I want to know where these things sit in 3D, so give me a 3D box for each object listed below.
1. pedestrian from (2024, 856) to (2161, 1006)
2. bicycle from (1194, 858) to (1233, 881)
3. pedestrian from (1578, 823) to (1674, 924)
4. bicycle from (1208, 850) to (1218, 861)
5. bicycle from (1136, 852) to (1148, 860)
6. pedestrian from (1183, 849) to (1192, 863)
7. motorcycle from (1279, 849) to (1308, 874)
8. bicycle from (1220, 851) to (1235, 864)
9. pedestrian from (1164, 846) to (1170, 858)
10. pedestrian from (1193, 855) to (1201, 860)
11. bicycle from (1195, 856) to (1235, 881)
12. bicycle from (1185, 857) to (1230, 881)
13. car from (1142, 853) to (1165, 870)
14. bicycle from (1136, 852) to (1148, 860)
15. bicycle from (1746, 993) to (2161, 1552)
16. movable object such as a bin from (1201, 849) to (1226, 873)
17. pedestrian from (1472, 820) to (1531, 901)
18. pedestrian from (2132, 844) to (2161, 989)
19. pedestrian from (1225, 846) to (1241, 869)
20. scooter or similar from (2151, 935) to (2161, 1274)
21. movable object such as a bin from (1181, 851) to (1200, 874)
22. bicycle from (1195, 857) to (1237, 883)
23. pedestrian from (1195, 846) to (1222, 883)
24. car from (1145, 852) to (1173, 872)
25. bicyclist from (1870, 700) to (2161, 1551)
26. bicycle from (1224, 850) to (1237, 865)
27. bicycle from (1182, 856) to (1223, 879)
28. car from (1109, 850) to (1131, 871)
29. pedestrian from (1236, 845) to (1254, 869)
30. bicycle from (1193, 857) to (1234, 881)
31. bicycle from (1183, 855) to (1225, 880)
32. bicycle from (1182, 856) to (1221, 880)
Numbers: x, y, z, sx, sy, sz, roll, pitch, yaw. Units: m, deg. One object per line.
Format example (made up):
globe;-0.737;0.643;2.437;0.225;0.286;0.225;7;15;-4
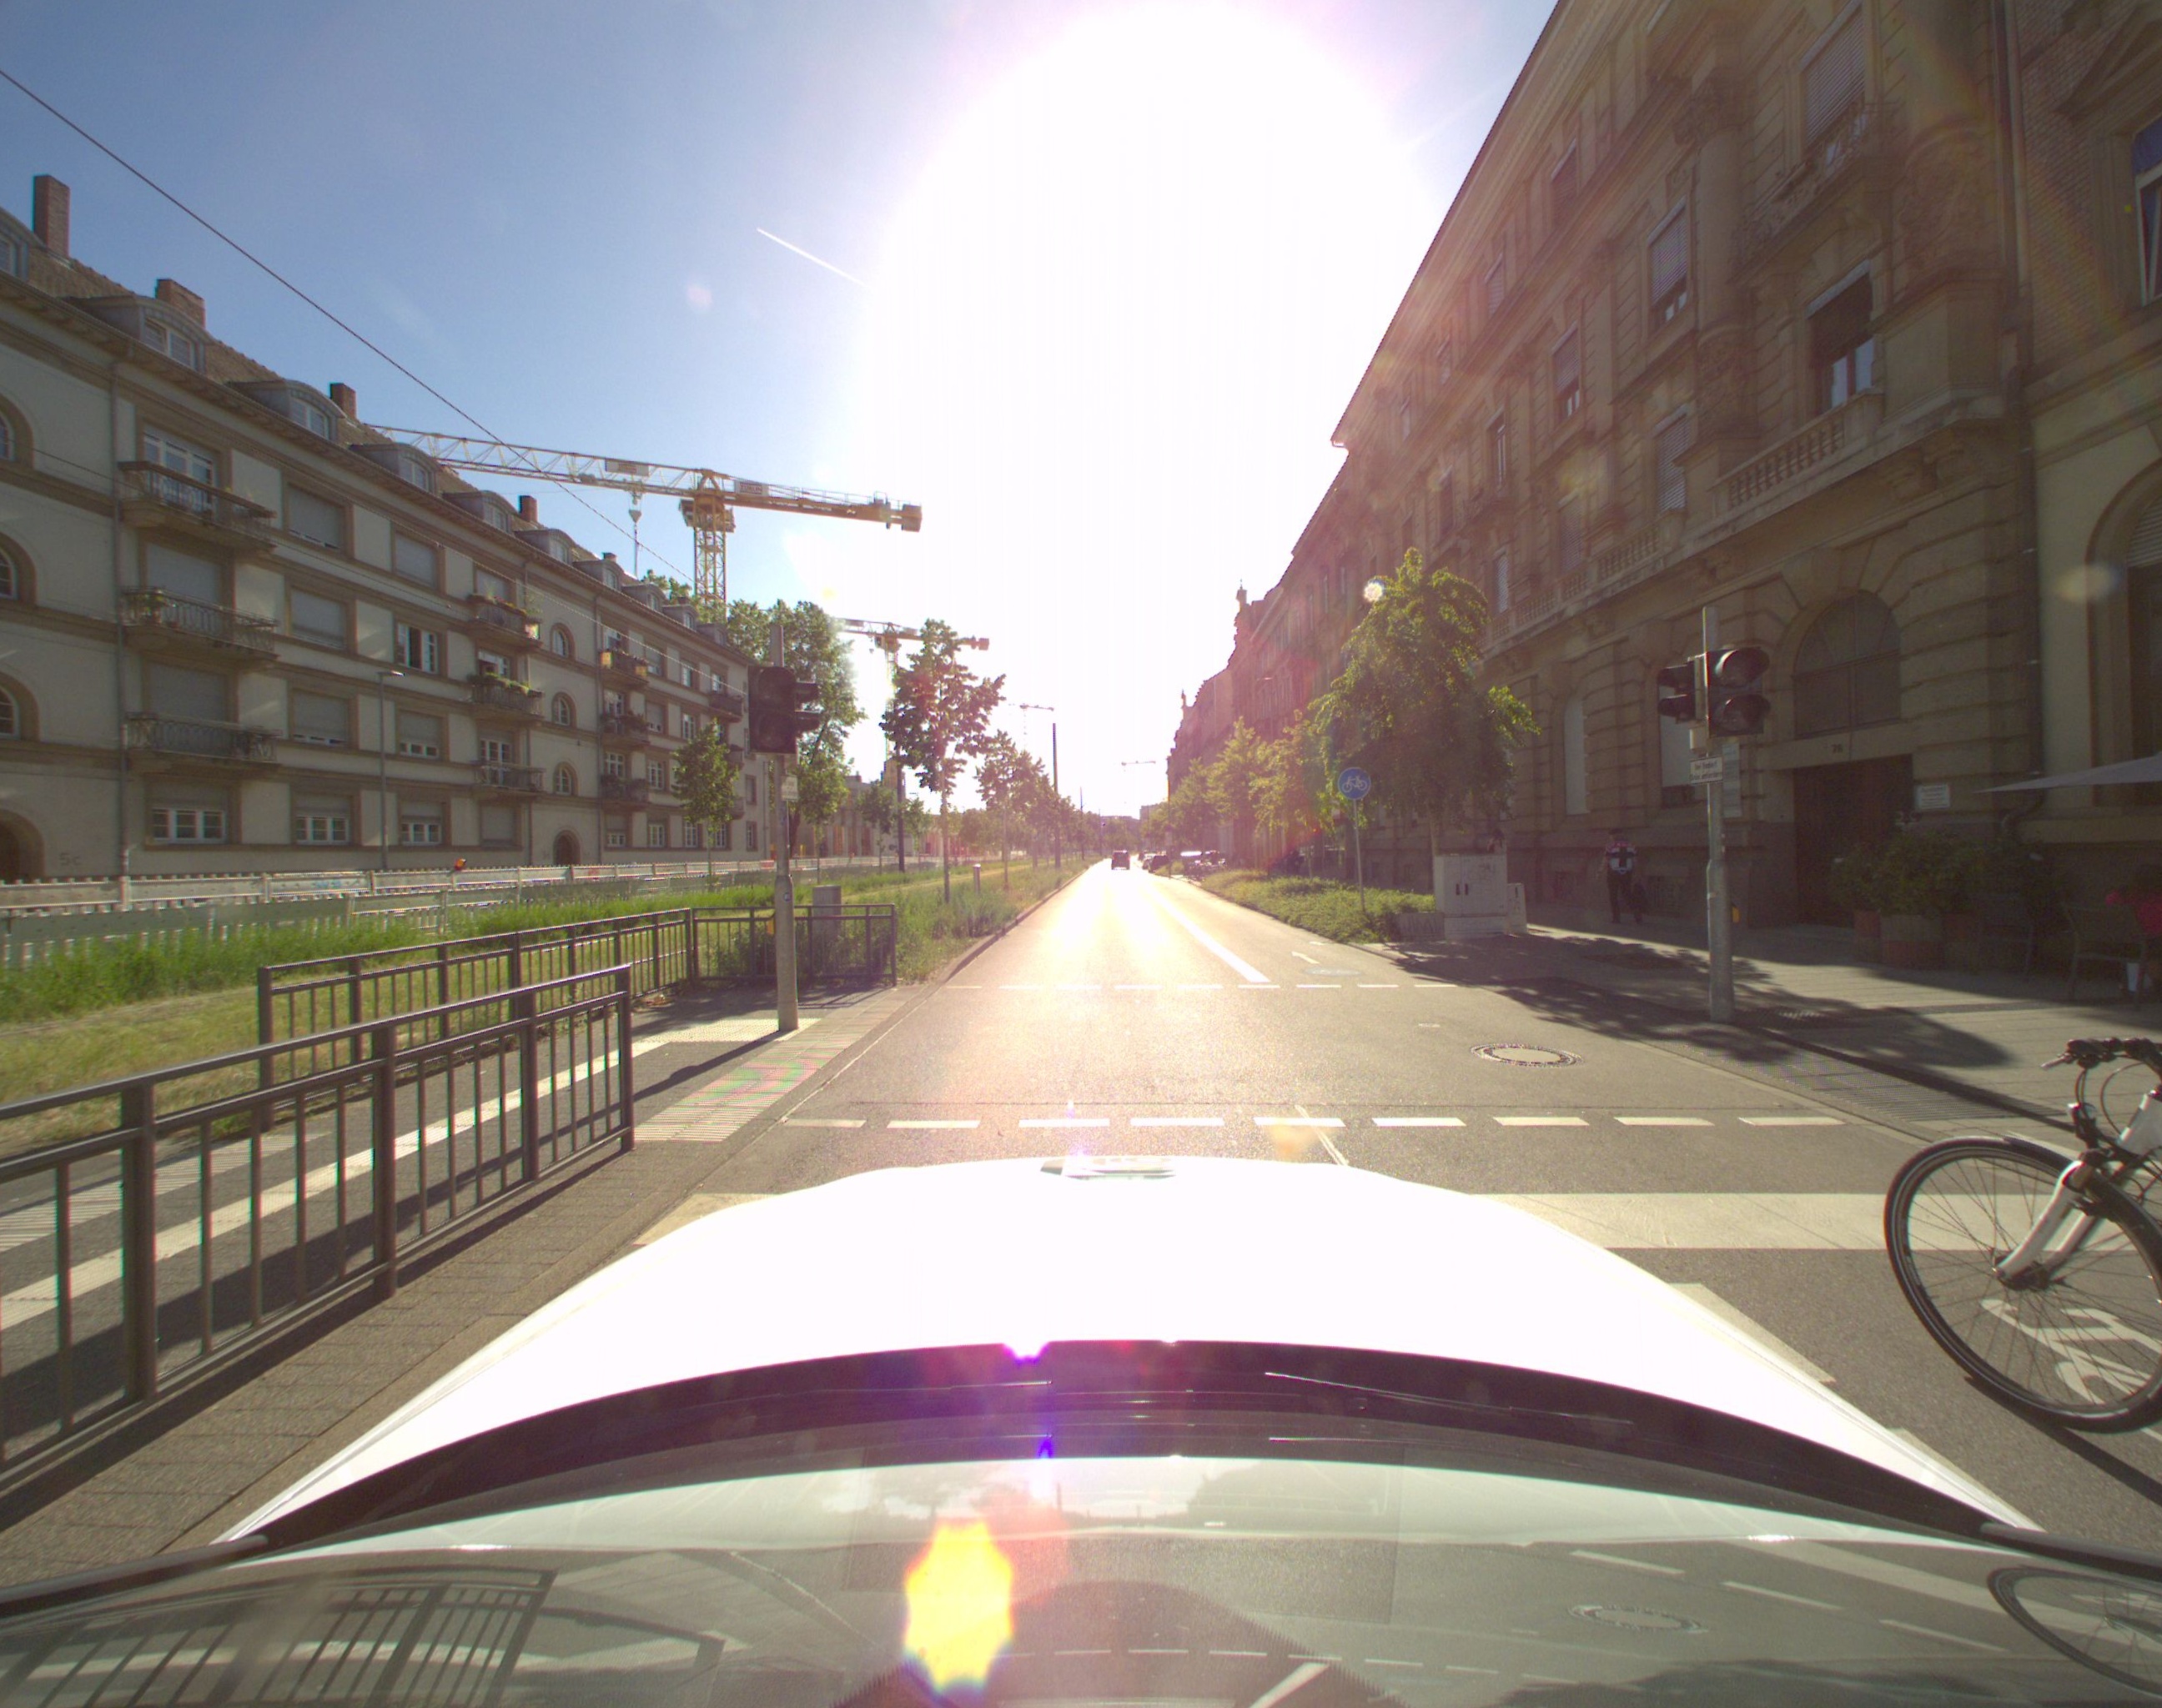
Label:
pedestrian;8.940;0.618;6.956;0.715;1.183;0.881;-2;-1;1
bicycle;6.667;0.771;41.081;1.811;1.056;0.571;-3;-1;-4
pedestrian;9.682;0.339;14.531;0.964;1.692;1.116;-3;0;9
bicycle;13.545;0.194;83.885;0.718;1.090;2.200;-3;0;2
bicycle;10.266;0.272;137.613;1.875;1.233;0.499;-4;-1;-4
pedestrian;13.011;0.244;99.310;0.992;1.731;0.866;0;-1;1
motorcycle;11.519;0.402;44.251;0.862;1.266;2.983;0;-1;2
bicycle;13.060;0.310;72.754;0.873;1.105;2.181;-4;0;-1
pedestrian;14.518;-0.287;137.250;0.814;2.014;1.046;0;-3;2
pedestrian;14.333;0.456;100.704;0.770;0.553;2.008;-2;1;2
bicycle;6.562;0.720;39.964;1.860;1.179;0.373;-2;-1;-1
bicycle;6.615;0.778;42.592;2.287;1.102;0.484;-3;0;-13
car;7.062;0.733;80.278;1.944;1.495;5.108;-3;0;2
bicycle;10.460;0.345;139.143;1.821;1.078;0.664;-4;0;-4
bicycle;2.666;0.986;1.772;0.722;1.006;1.948;0;0;-6
movable object such as a bin;8.921;0.464;54.804;1.368;1.495;1.750;-4;-1;3
pedestrian;10.528;0.162;20.416;0.885;1.920;1.100;-3;0;7
pedestrian;9.863;0.540;6.899;0.722;1.282;0.888;-2;-1;1
pedestrian;10.701;0.226;57.389;0.947;1.566;1.080;-2;1;1
scooter or similar;4.059;0.859;2.266;0.644;1.158;1.149;0;0;-4
movable object such as a bin;7.325;0.531;54.669;1.264;1.463;1.647;0;2;7
bicycle;6.571;0.775;39.609;1.887;1.108;0.517;-3;-1;-4
pedestrian;6.458;0.540;41.198;0.906;1.735;0.840;-5;0;-35
car;6.461;0.655;67.577;1.760;1.477;4.447;-4;-1;-1
bicyclist;2.659;0.578;1.814;0.722;1.817;1.088;0;0;-7
bicycle;12.769;0.322;69.693;0.745;1.201;1.802;-3;-1;2
bicycle;6.576;0.728;44.023;2.040;1.107;0.610;-4;0;-4
car;3.893;0.670;81.025;1.987;2.014;3.999;0;-1;0
pedestrian;11.569;0.194;57.471;0.967;1.639;0.993;-3;1;2
bicycle;6.721;0.740;41.424;1.971;1.108;0.435;-3;-1;-1
bicycle;6.486;0.704;42.940;2.148;1.154;0.428;-5;0;-12
bicycle;6.585;0.734;44.431;1.970;1.124;0.481;-5;1;-4
